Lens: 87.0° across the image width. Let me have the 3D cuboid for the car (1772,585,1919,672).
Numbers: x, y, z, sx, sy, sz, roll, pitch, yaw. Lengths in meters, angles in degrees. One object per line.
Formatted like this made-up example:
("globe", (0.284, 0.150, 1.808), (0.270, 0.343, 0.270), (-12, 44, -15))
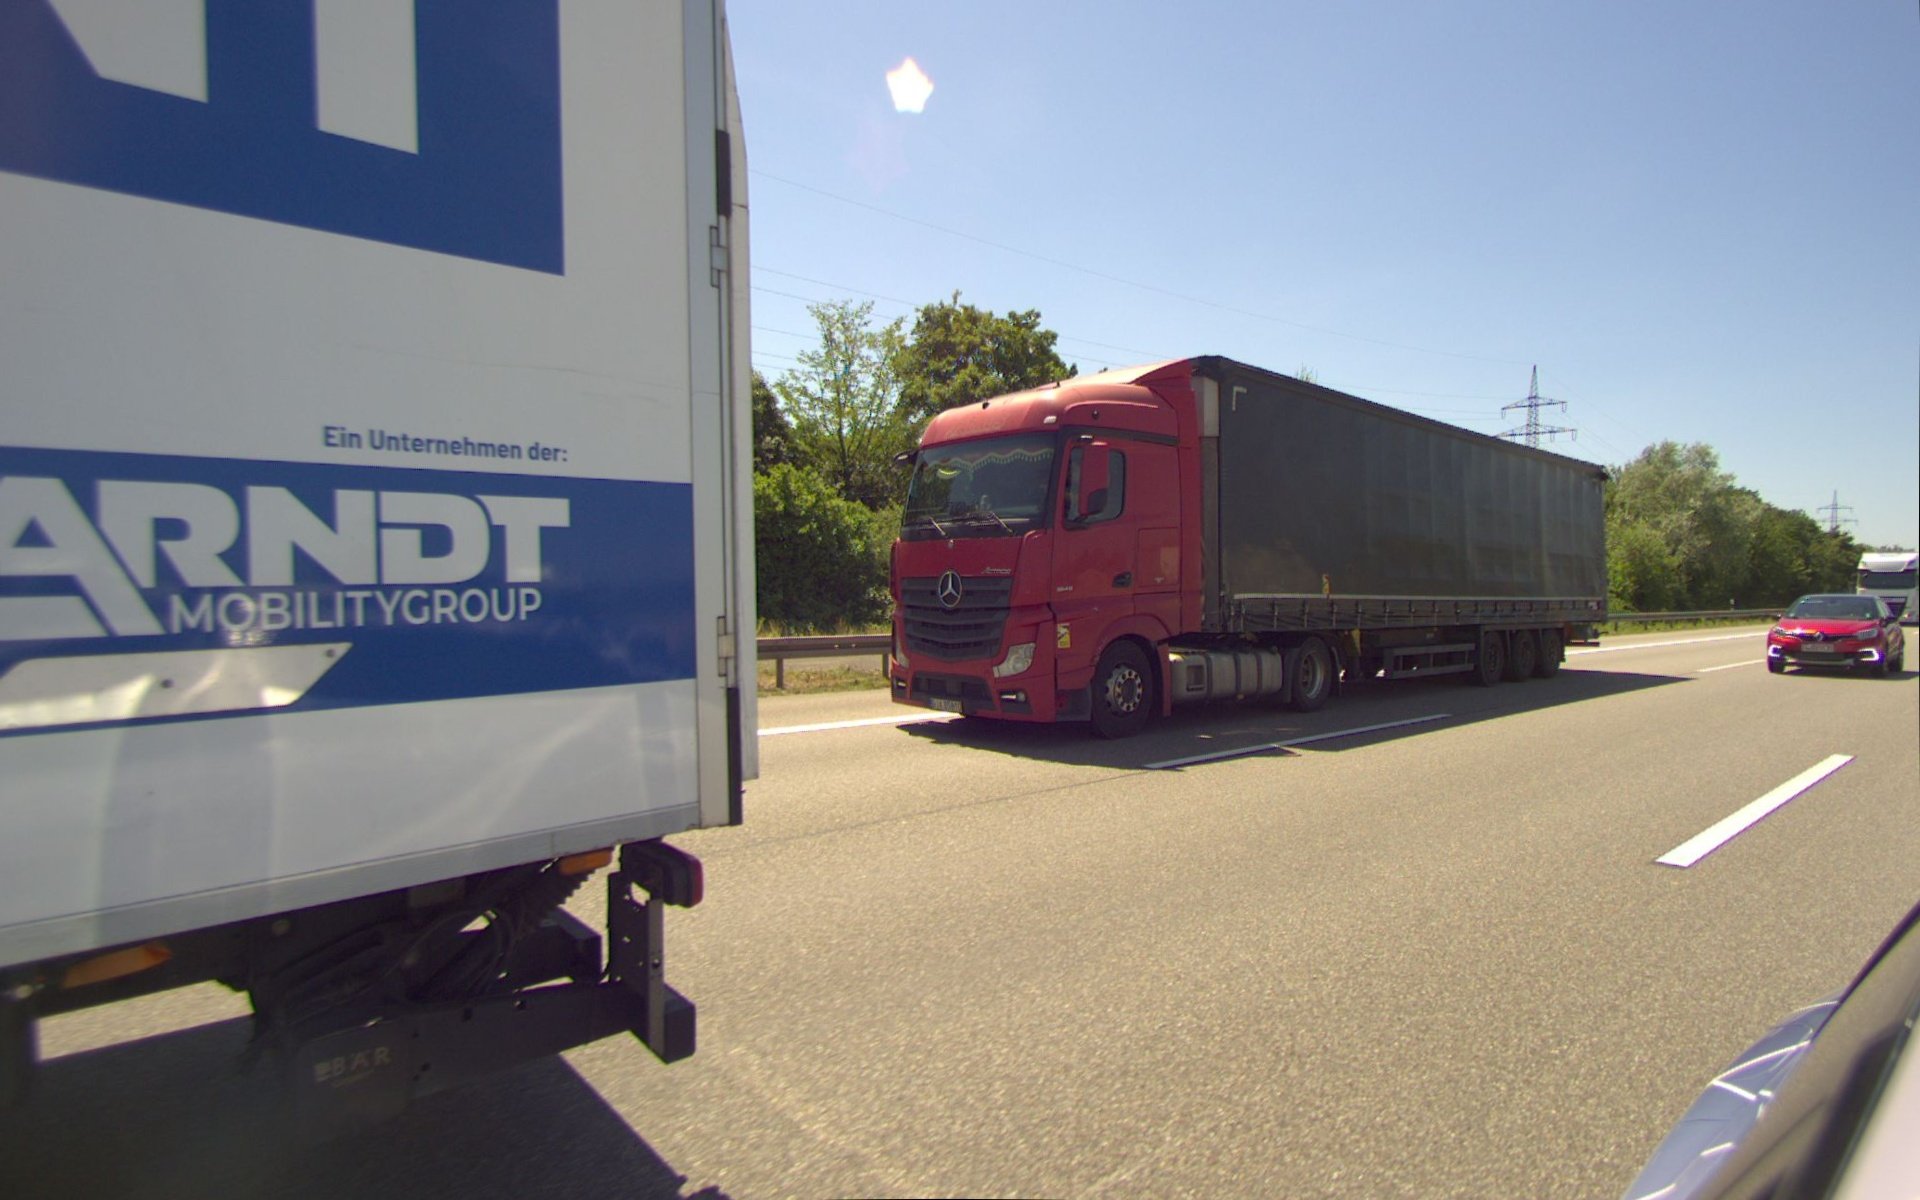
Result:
("car", (17.807, 0.490, 20.222), (3.930, 1.565, 1.806), (0, 1, -41))

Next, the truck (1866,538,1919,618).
("truck", (52.066, -1.168, 55.553), (6.018, 4.171, 2.740), (0, 1, -41))

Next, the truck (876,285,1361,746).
("truck", (2.091, -0.802, 12.173), (5.622, 4.216, 2.800), (0, 1, -41))

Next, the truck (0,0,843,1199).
("truck", (-4.154, -0.294, 0.715), (7.988, 3.415, 2.786), (0, 1, -42))

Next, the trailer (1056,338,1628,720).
("trailer", (7.212, -0.828, 16.618), (13.336, 4.216, 2.794), (0, 1, -41))

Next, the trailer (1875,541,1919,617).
("trailer", (57.045, -1.191, 59.965), (12.894, 4.158, 2.740), (0, 1, -41))
